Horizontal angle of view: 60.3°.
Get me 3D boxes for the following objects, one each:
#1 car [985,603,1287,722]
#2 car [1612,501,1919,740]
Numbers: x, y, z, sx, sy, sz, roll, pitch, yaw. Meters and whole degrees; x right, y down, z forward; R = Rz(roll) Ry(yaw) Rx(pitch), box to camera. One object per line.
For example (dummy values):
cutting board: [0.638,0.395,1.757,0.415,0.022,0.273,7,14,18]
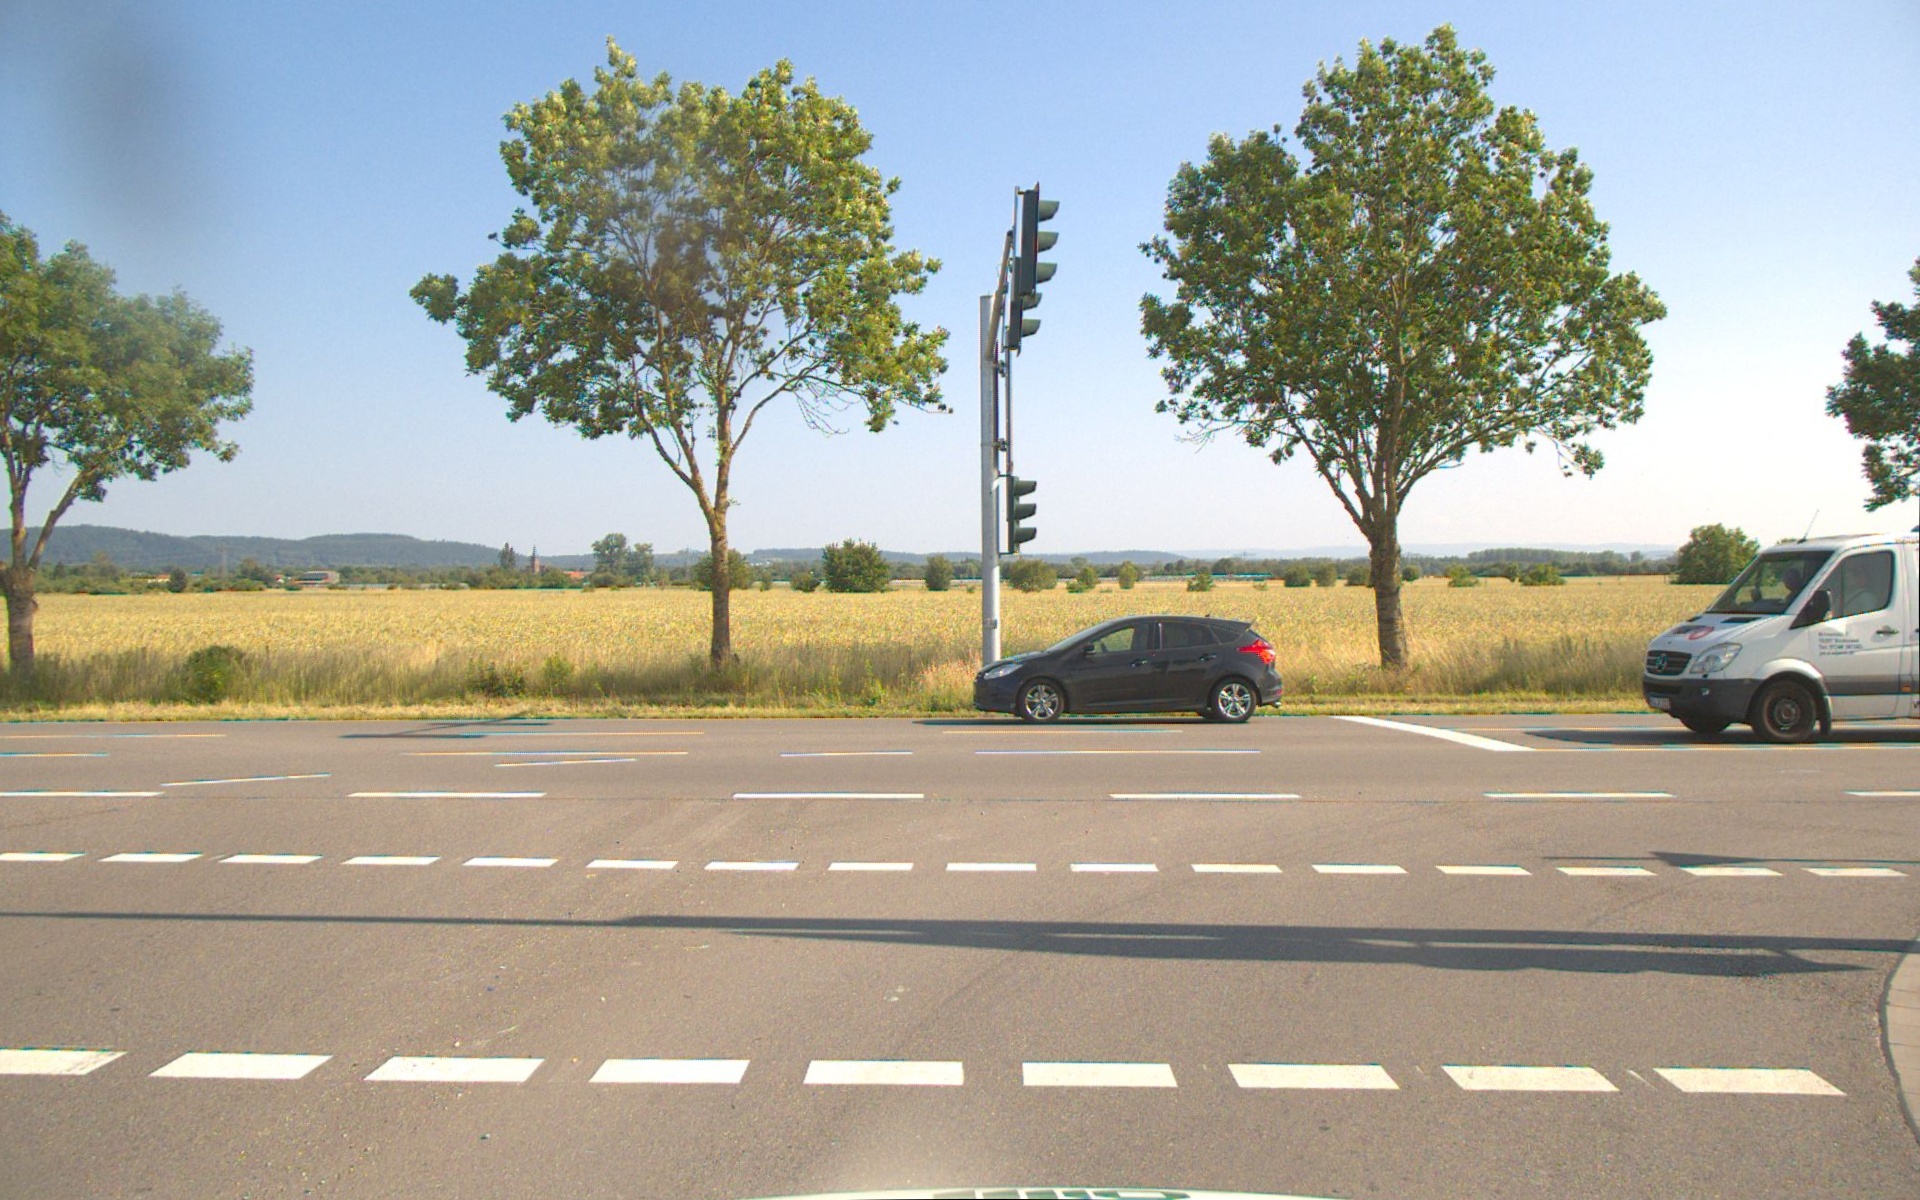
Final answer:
car: [2.357,0.832,22.946,3.907,1.527,1.999,0,1,-3]
car: [10.769,0.204,18.901,5.837,2.536,1.999,-1,-1,-2]
